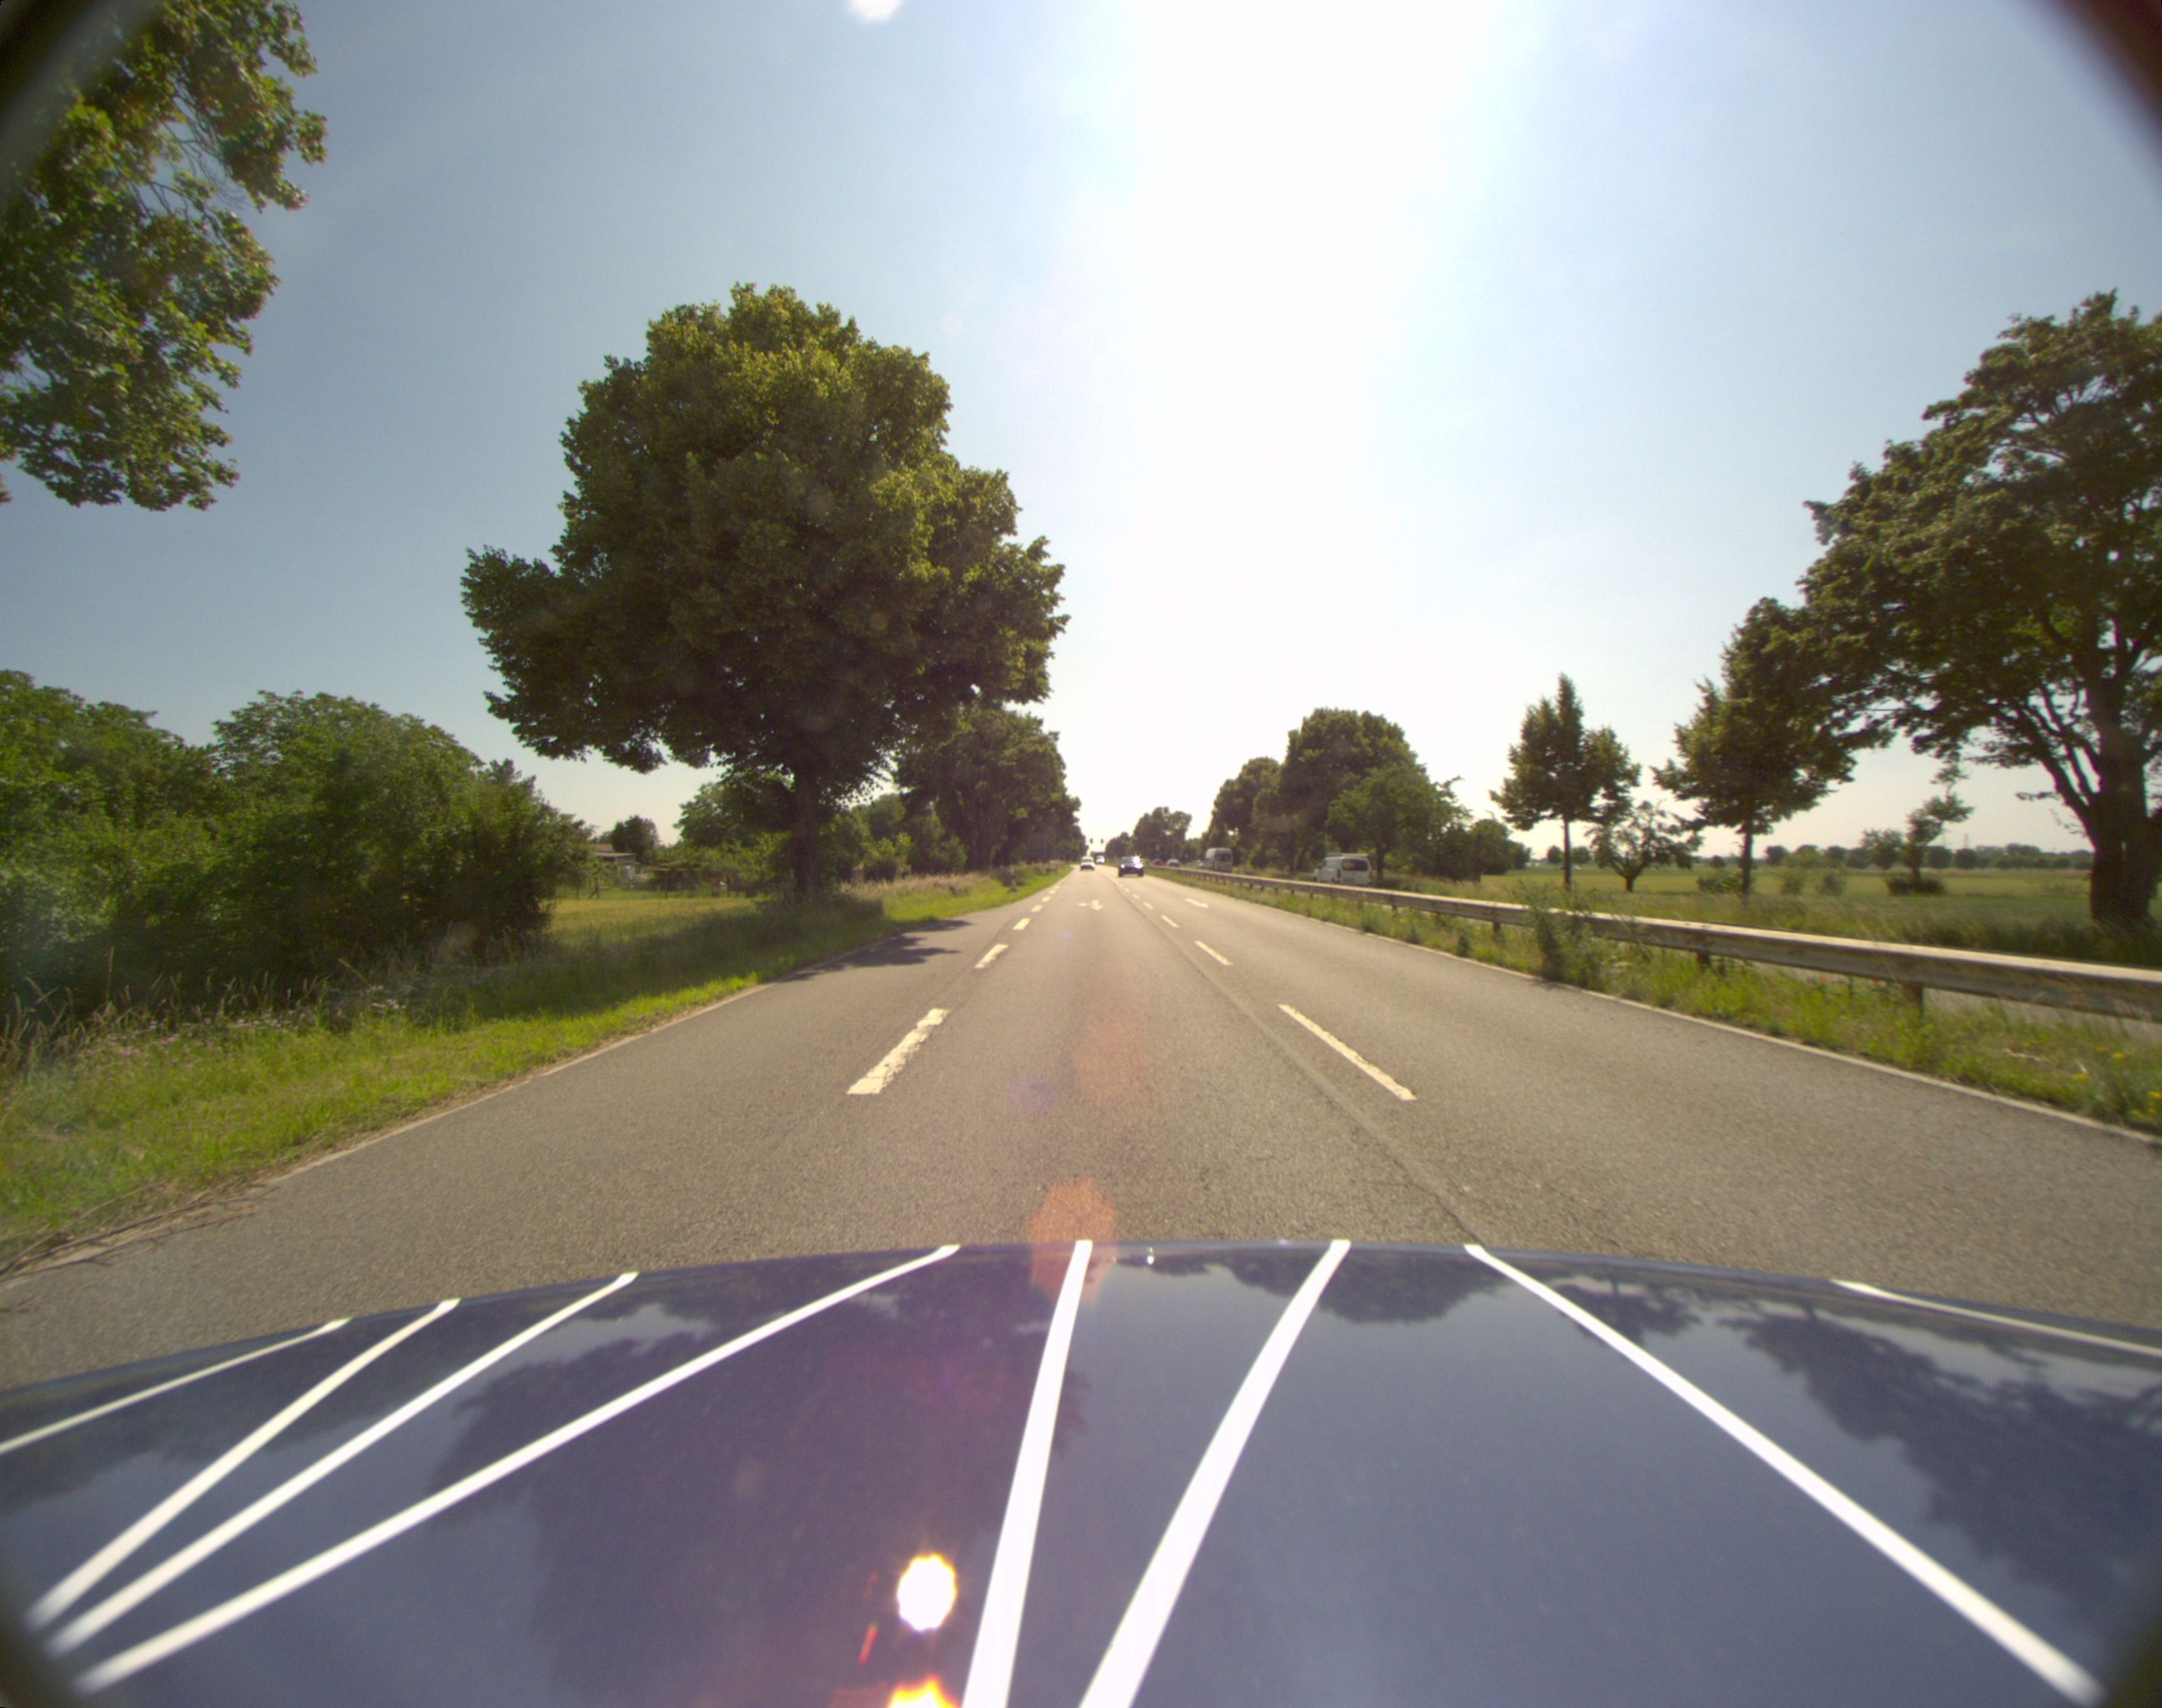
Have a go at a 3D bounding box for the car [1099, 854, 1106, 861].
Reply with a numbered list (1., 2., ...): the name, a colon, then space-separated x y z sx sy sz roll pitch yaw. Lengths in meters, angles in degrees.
1. car: 5.833 0.884 204.104 1.886 1.775 4.000 0 0 0

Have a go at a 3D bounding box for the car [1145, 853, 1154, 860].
1. car: 15.285 0.564 170.289 1.765 1.581 3.894 0 0 0

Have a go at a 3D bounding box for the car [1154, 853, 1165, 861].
1. car: 15.141 0.601 146.604 1.765 1.581 3.894 0 0 0

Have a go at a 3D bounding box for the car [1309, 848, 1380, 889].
1. car: 13.284 0.677 38.634 2.043 2.002 4.531 0 0 0

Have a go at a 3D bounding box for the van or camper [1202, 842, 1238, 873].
1. van or camper: 13.882 0.356 76.561 2.391 2.931 7.091 0 0 1

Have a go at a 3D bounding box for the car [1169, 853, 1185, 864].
1. car: 15.085 0.706 119.695 1.960 1.581 4.865 0 0 0

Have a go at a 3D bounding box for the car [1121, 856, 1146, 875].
1. car: 4.285 0.910 62.316 1.860 1.507 4.100 -1 0 2

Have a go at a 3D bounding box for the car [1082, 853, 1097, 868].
1. car: 1.056 0.798 97.743 1.777 1.863 4.581 0 0 -1
